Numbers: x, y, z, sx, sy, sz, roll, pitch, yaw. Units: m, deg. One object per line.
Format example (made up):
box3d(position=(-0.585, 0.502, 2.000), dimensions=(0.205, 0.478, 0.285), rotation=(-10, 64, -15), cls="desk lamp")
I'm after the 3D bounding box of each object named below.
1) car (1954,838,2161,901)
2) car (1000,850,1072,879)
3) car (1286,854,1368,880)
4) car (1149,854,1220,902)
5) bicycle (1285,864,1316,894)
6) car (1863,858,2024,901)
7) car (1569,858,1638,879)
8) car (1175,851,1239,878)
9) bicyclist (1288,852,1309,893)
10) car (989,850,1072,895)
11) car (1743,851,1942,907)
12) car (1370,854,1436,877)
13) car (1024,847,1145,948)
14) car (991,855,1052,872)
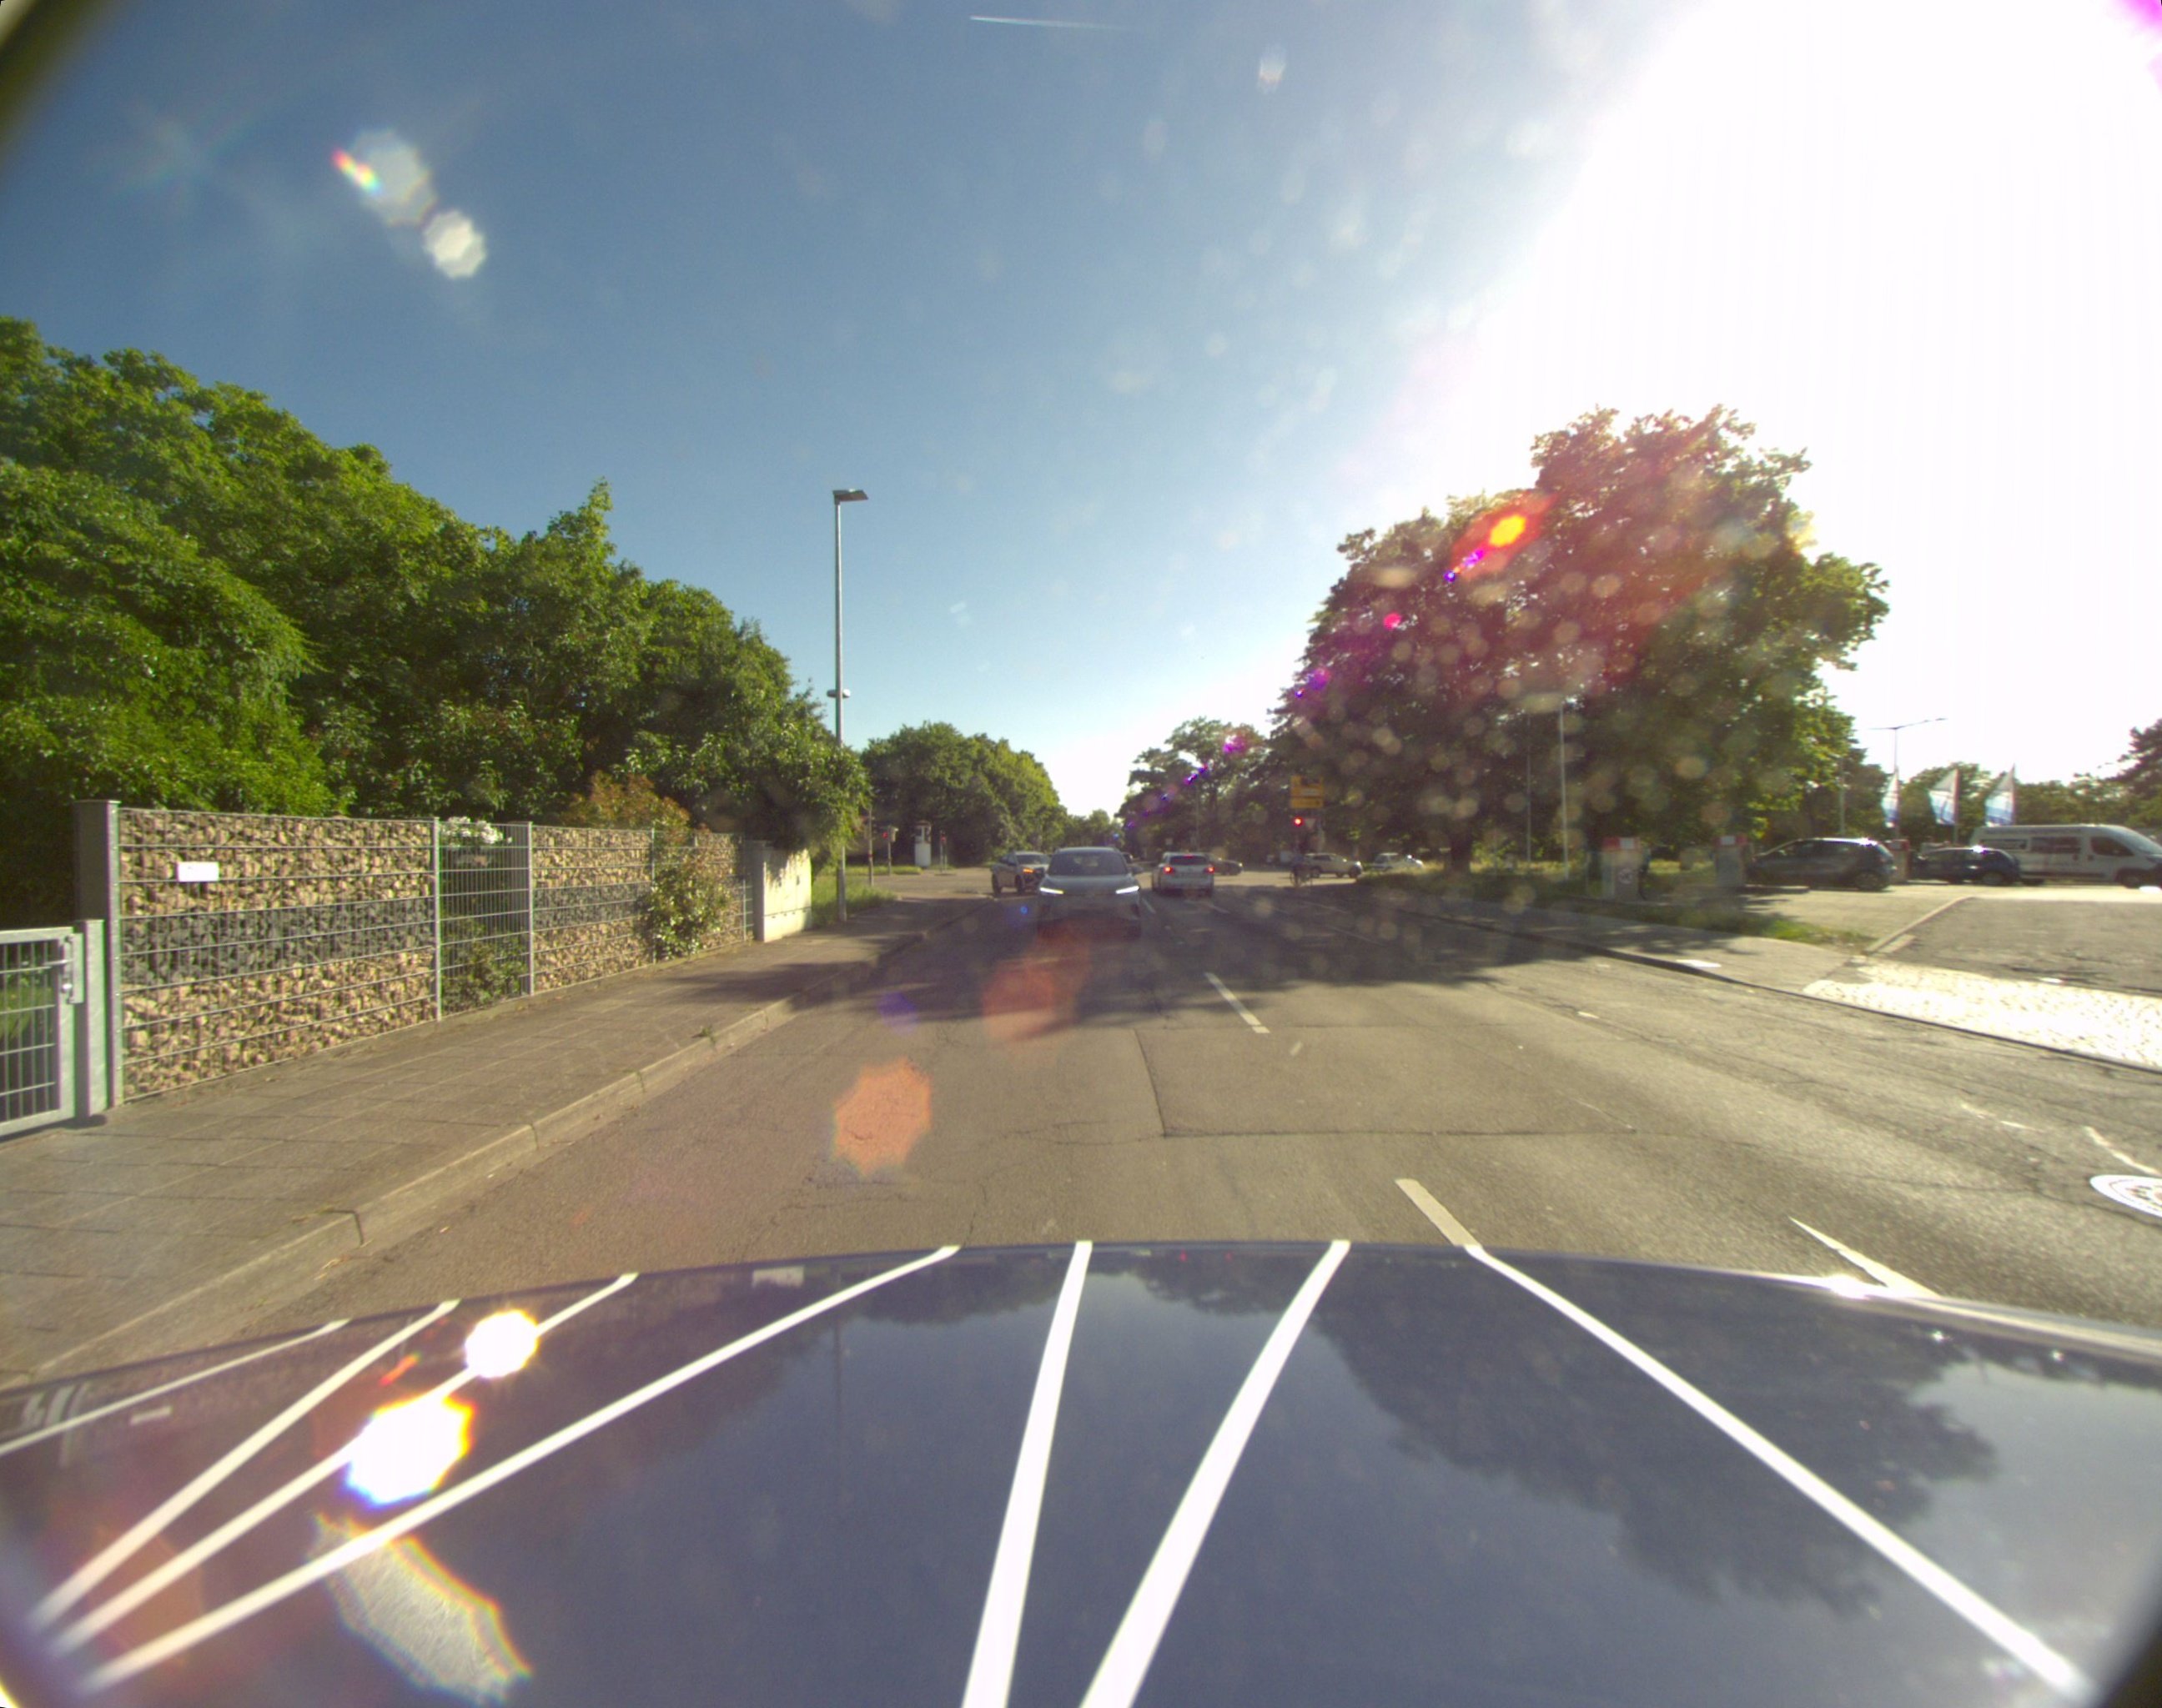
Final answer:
box3d(position=(39.061, 0.524, 29.970), dimensions=(2.001, 2.088, 5.643), rotation=(1, 3, -15), cls="car")
box3d(position=(-2.591, 0.580, 43.405), dimensions=(3.912, 1.432, 1.690), rotation=(-2, 3, -12), cls="car")
box3d(position=(15.150, 0.796, 46.918), dimensions=(4.365, 1.478, 1.918), rotation=(1, 3, -10), cls="car")
box3d(position=(3.535, 0.762, 26.783), dimensions=(1.841, 1.480, 4.889), rotation=(1, 0, 0), cls="car")
box3d(position=(8.999, 1.004, 31.222), dimensions=(0.529, 1.135, 2.025), rotation=(1, 0, -5), cls="bicycle")
box3d(position=(33.652, 0.943, 29.775), dimensions=(1.575, 1.330, 3.895), rotation=(0, 3, -31), cls="car")
box3d(position=(37.985, 1.061, 55.288), dimensions=(4.122, 1.432, 1.691), rotation=(1, 1, -12), cls="car")
box3d(position=(8.322, 0.657, 50.083), dimensions=(3.992, 1.532, 1.625), rotation=(2, 3, 14), cls="car")
box3d(position=(8.982, 0.755, 31.343), dimensions=(0.542, 1.632, 0.829), rotation=(1, 1, -5), cls="bicyclist")
box3d(position=(-1.981, 0.640, 28.688), dimensions=(1.695, 1.564, 4.112), rotation=(-1, 0, -26), cls="car")
box3d(position=(23.149, 0.691, 23.242), dimensions=(1.763, 1.368, 3.988), rotation=(0, 3, -35), cls="car")
box3d(position=(22.342, 0.796, 52.758), dimensions=(3.913, 1.432, 1.691), rotation=(-2, 2, -12), cls="car")
box3d(position=(0.147, 0.702, 14.767), dimensions=(1.992, 1.631, 4.365), rotation=(0, 1, 2), cls="car")
box3d(position=(-4.632, 0.746, 58.911), dimensions=(4.503, 1.221, 1.691), rotation=(1, 0, -13), cls="car")
